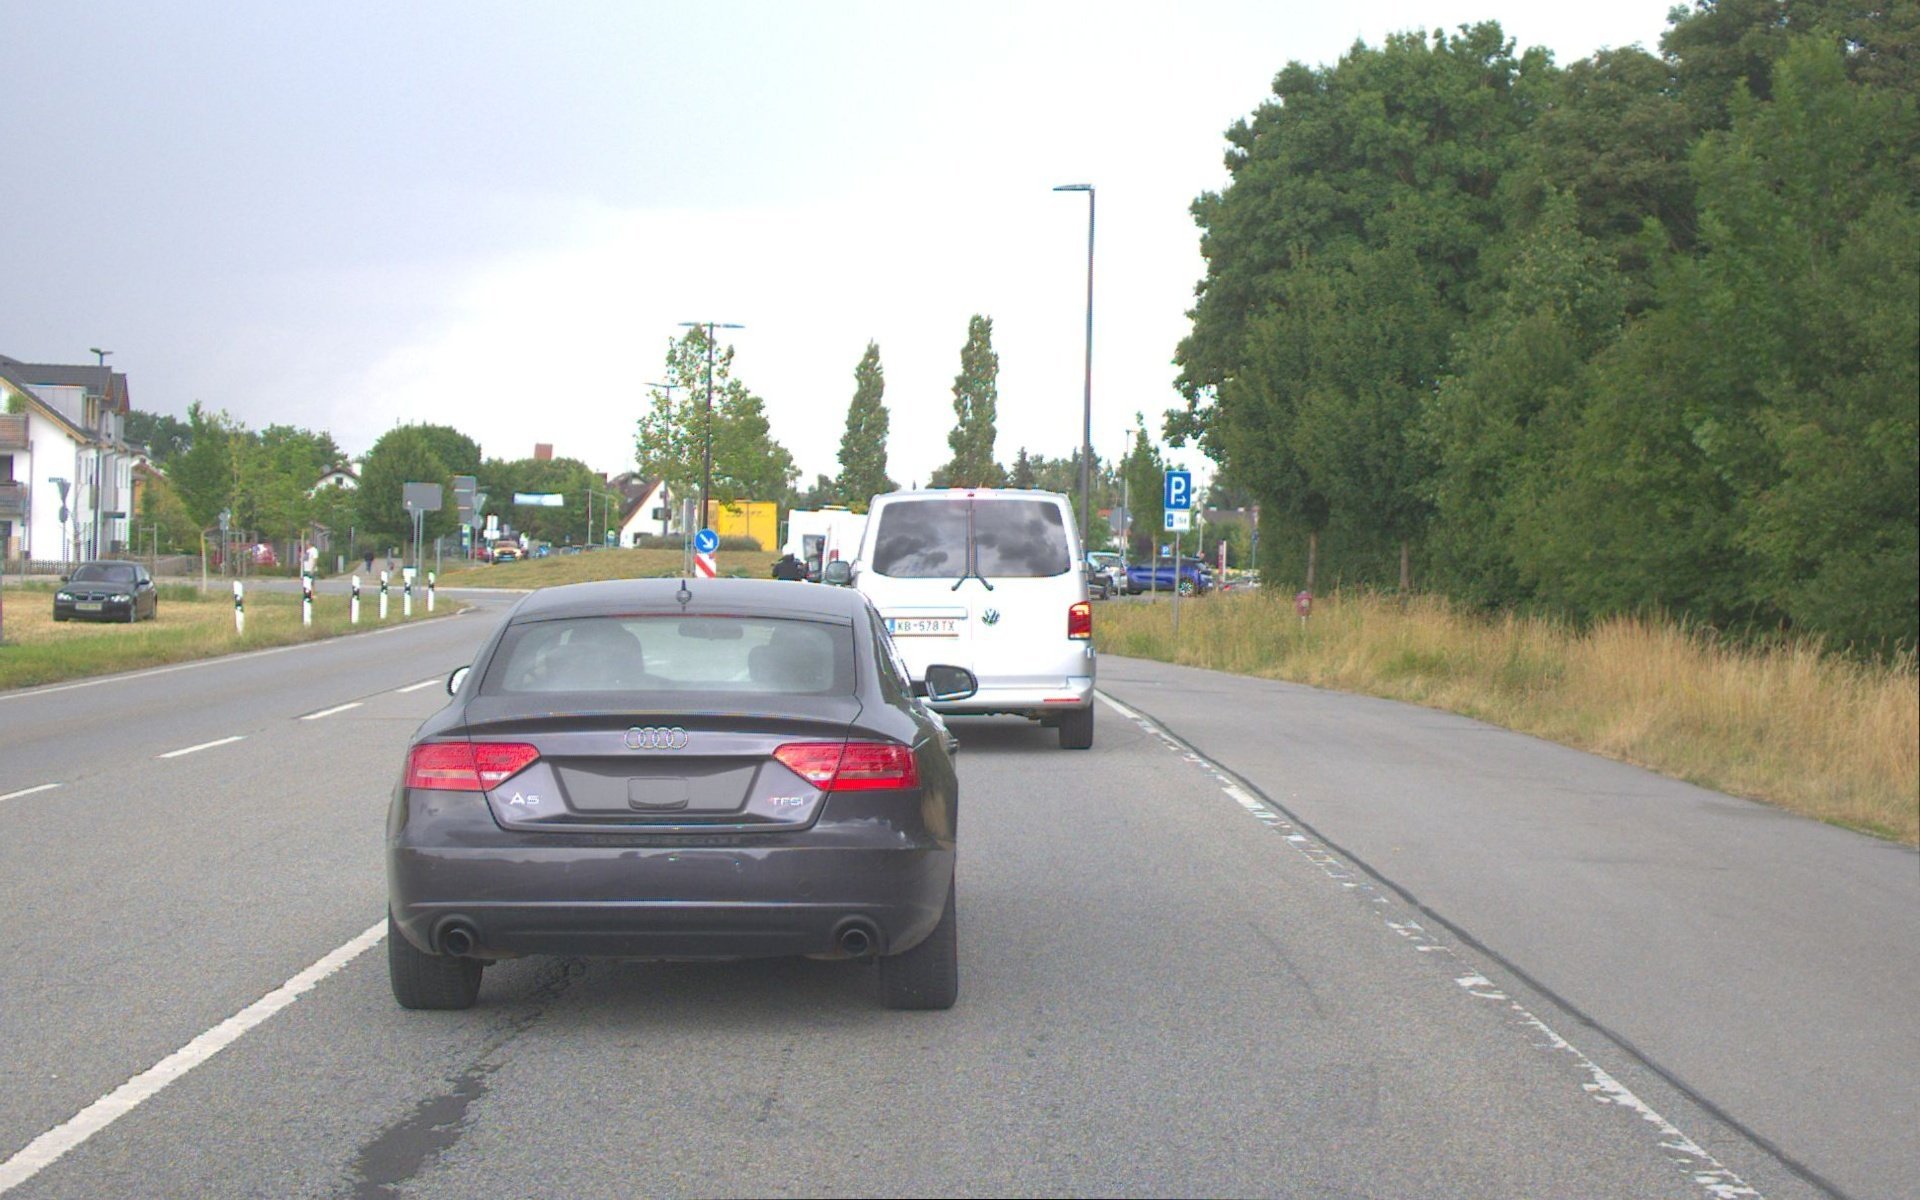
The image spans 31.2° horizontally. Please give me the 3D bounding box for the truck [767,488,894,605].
[{"bbox_3d":[-3.270,-1.324,85.458,2.626,2.728,5.868,2,1,-7],"label":"truck"}]

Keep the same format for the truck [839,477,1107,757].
[{"bbox_3d":[0.107,0.083,27.211,1.904,1.991,4.628,1,1,0],"label":"truck"}]

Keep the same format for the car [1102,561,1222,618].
[{"bbox_3d":[7.554,-0.402,128.552,3.991,2.007,1.998,2,1,20],"label":"car"}]

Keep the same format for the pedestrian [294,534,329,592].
[{"bbox_3d":[-17.825,-1.016,94.516,0.701,1.580,0.657,1,1,17],"label":"pedestrian"}]

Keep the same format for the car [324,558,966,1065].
[{"bbox_3d":[-0.928,0.595,12.183,1.875,1.449,4.177,1,1,0],"label":"car"}]

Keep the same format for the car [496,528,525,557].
[{"bbox_3d":[-32.194,-4.117,246.228,1.993,2.007,4.001,2,1,-7],"label":"car"}]

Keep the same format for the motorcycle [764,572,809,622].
[{"bbox_3d":[-3.741,-0.074,74.384,0.944,1.016,2.284,1,1,-2],"label":"motorcycle"}]

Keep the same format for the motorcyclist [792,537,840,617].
[{"bbox_3d":[-2.537,-0.407,60.655,0.772,1.379,0.820,1,1,1],"label":"motorcyclist"}]

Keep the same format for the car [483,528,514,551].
[{"bbox_3d":[-34.074,-4.449,254.022,1.993,1.636,4.001,2,1,-4],"label":"car"}]

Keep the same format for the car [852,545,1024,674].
[{"bbox_3d":[-0.275,0.089,42.242,1.993,1.480,4.000,1,1,0],"label":"car"}]

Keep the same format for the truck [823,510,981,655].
[{"bbox_3d":[-0.809,-0.274,51.169,2.194,2.007,5.085,1,1,0],"label":"truck"}]

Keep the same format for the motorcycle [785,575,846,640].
[{"bbox_3d":[-2.544,0.129,60.736,0.920,1.090,2.188,1,1,1],"label":"motorcycle"}]

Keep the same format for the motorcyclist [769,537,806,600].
[{"bbox_3d":[-3.736,-0.680,74.512,0.785,1.352,0.854,1,1,-3],"label":"motorcyclist"}]

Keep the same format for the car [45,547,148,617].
[{"bbox_3d":[-19.557,-0.426,77.976,1.993,1.437,4.001,1,2,-11],"label":"car"}]

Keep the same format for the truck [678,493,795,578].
[{"bbox_3d":[-10.084,-2.928,153.998,3.575,3.566,9.960,2,1,-13],"label":"truck"}]
